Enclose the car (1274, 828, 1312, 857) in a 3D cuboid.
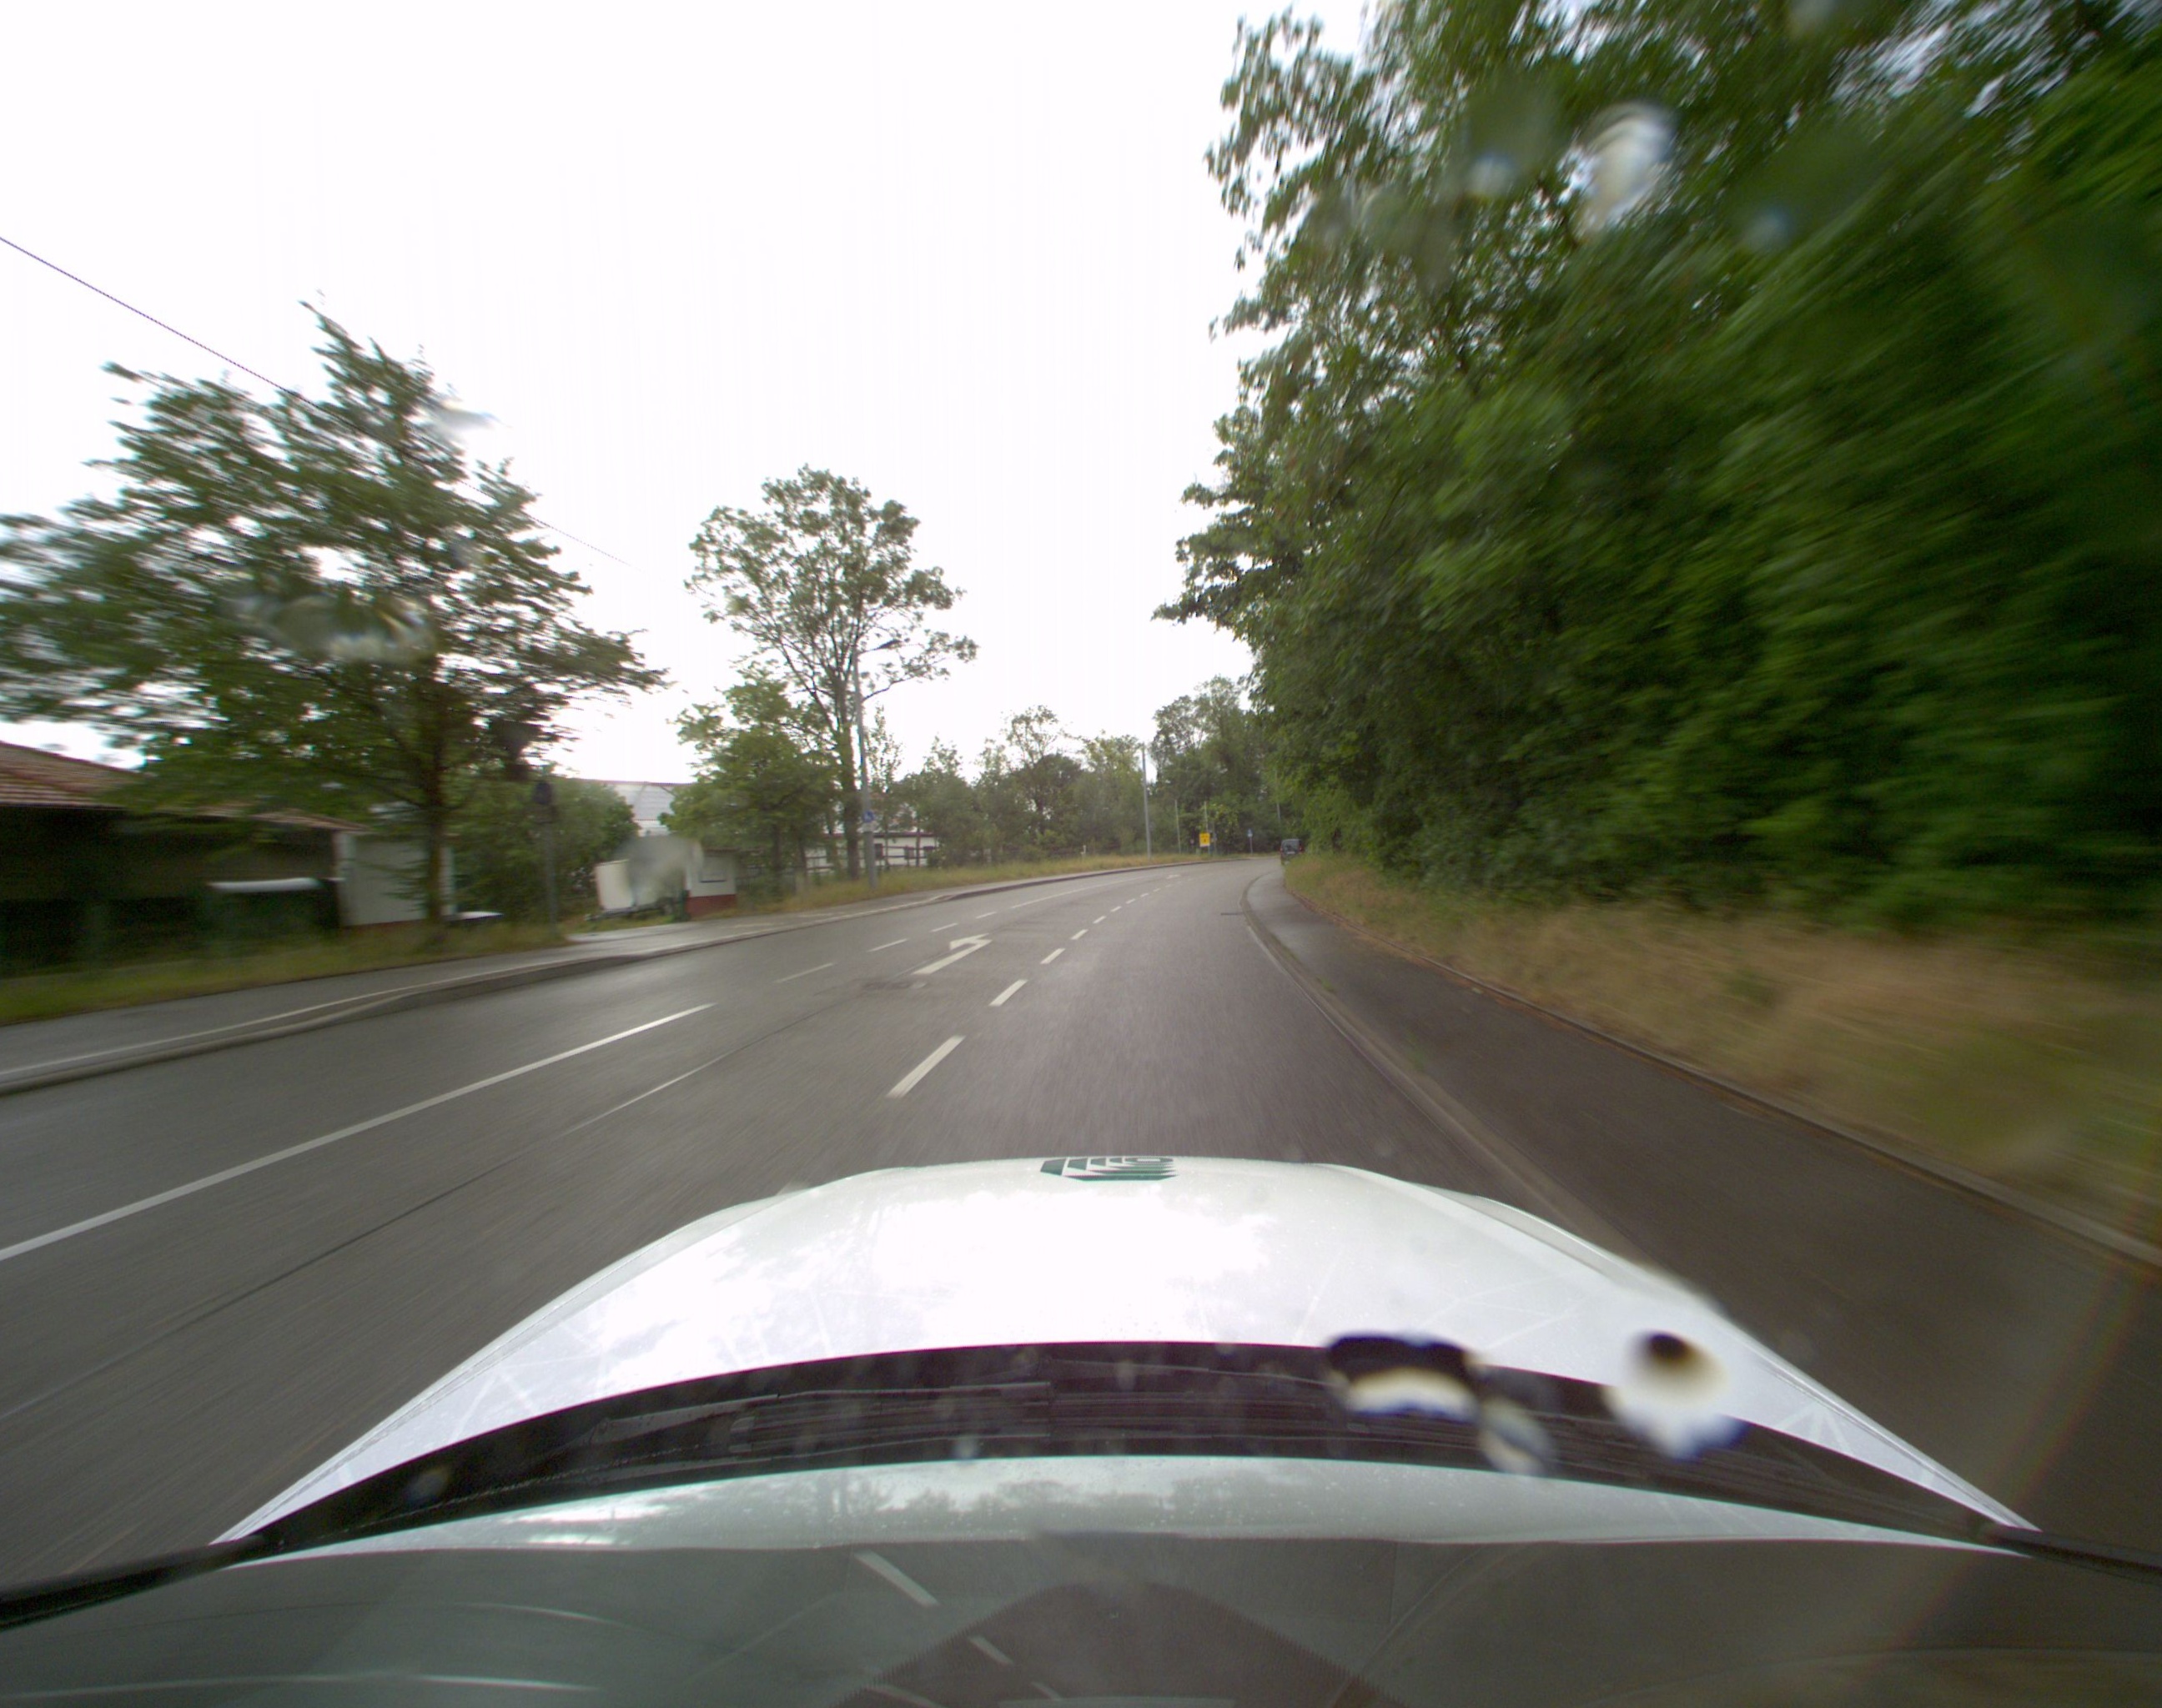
[{"bbox_3d":[15.611,-0.889,59.776,1.810,1.793,4.024,-8,-1,24],"label":"car"}]
